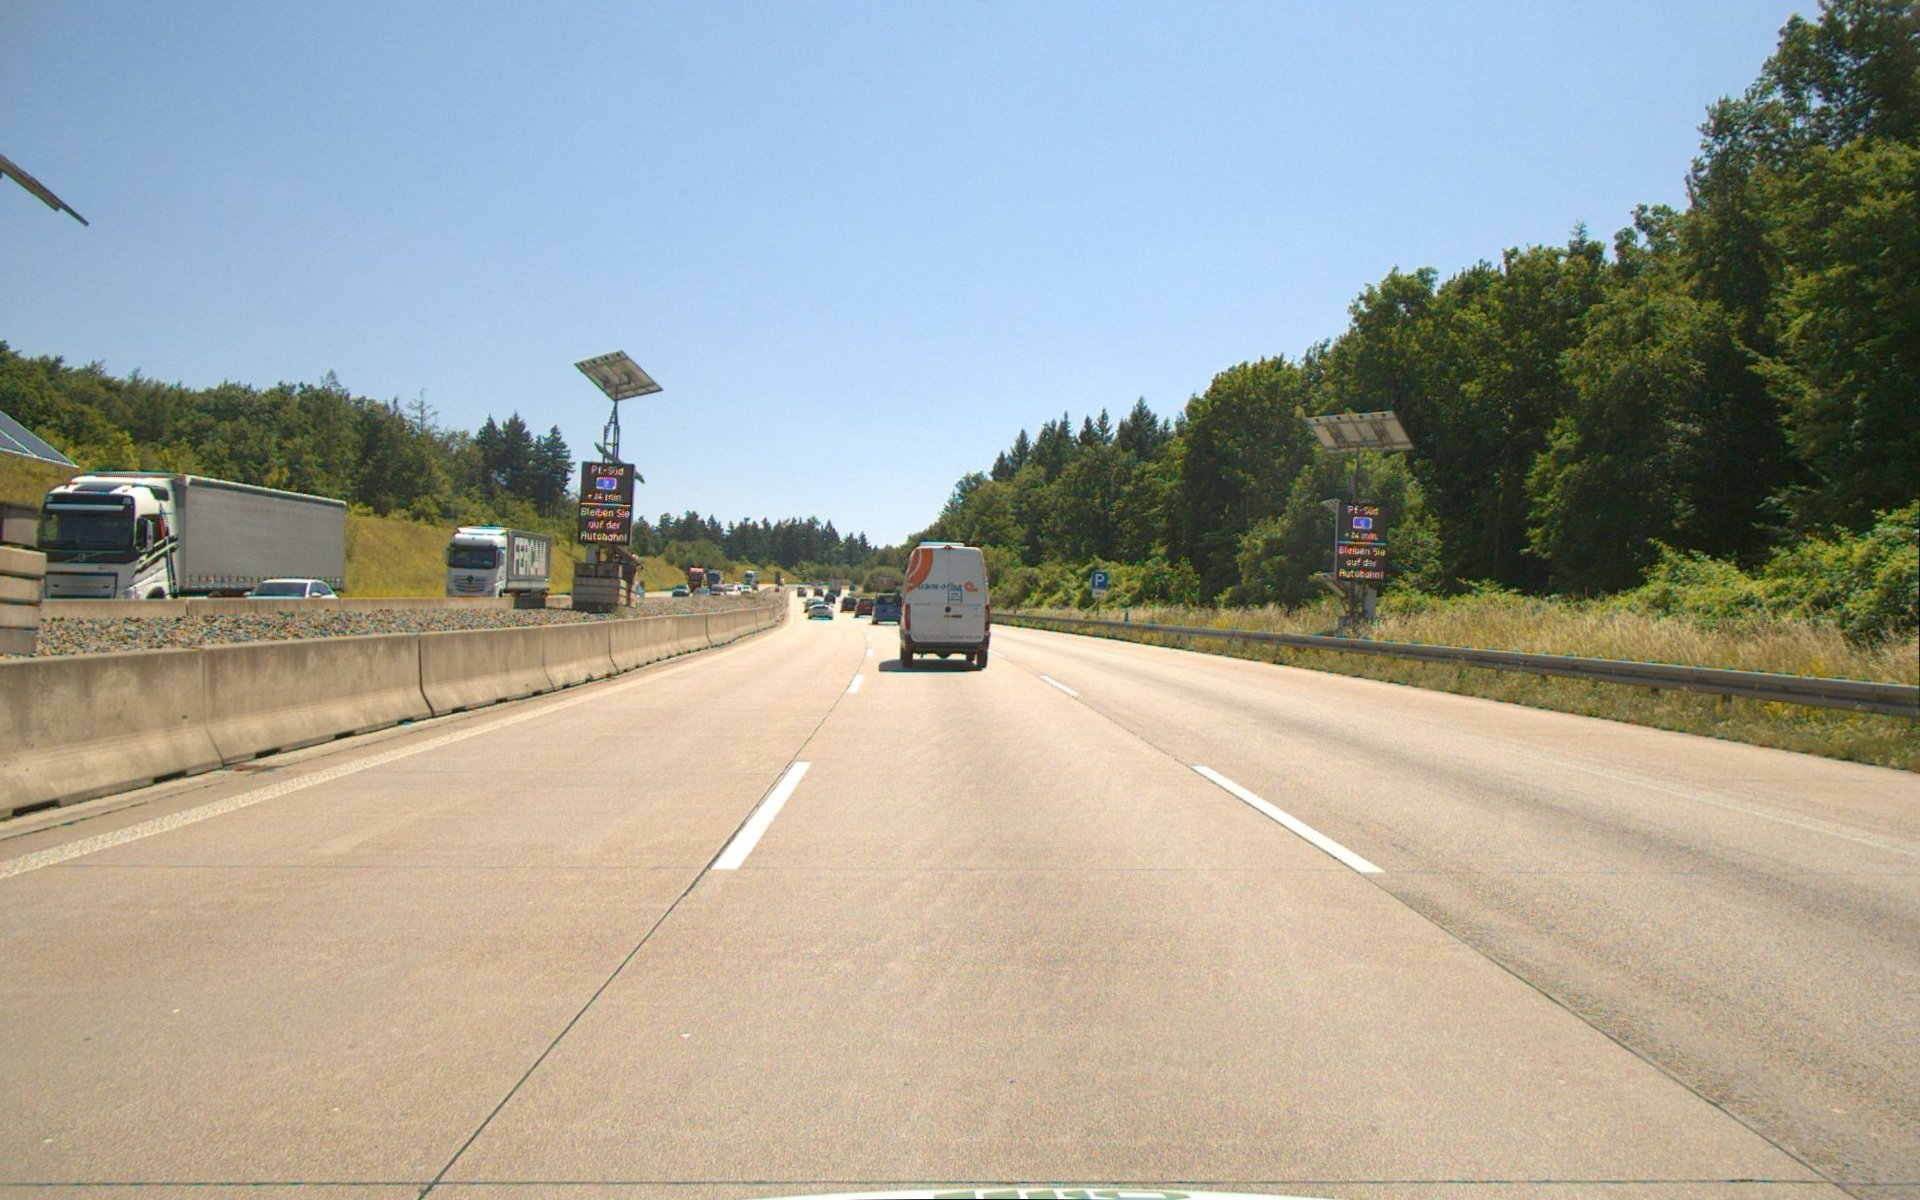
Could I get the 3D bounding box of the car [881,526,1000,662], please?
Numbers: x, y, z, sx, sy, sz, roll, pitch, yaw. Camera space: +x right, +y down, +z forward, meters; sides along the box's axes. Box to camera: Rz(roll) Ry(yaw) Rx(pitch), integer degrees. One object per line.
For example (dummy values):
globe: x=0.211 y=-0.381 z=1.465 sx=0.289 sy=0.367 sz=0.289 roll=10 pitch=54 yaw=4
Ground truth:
car: x=-0.537 y=-0.154 z=38.432 sx=2.184 sy=2.894 sz=5.447 roll=1 pitch=1 yaw=-7

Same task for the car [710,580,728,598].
car: x=-27.716 y=-1.265 z=190.363 sx=1.955 sy=2.049 sz=4.454 roll=1 pitch=0 yaw=-7

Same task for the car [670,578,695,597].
car: x=-30.930 y=-1.361 z=184.323 sx=2.238 sy=2.049 sz=4.800 roll=1 pitch=0 yaw=-3

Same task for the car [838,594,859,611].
car: x=-11.737 y=0.295 z=174.307 sx=1.954 sy=1.713 sz=3.998 roll=3 pitch=0 yaw=-2

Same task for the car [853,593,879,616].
car: x=-7.714 y=0.386 z=136.140 sx=1.954 sy=1.713 sz=3.998 roll=3 pitch=0 yaw=-2

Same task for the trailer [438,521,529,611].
trailer: x=-24.078 y=-1.654 z=83.910 sx=2.876 sy=4.241 sz=6.884 roll=3 pitch=0 yaw=-5

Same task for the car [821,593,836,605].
car: x=-20.164 y=-0.116 z=253.758 sx=1.954 sy=1.713 sz=3.998 roll=3 pitch=0 yaw=-2

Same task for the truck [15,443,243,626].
truck: x=-21.331 y=-1.563 z=42.890 sx=2.876 sy=4.241 sz=6.224 roll=3 pitch=0 yaw=-4

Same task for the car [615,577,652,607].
car: x=-22.580 y=-0.550 z=114.587 sx=1.954 sy=2.049 sz=3.997 roll=1 pitch=0 yaw=-3

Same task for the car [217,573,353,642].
car: x=-17.478 y=0.190 z=43.033 sx=1.953 sy=1.713 sz=3.999 roll=0 pitch=0 yaw=-2

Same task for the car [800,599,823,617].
car: x=-14.432 y=0.775 z=160.635 sx=1.954 sy=1.713 sz=3.998 roll=3 pitch=0 yaw=-2

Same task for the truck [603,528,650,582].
truck: x=-30.470 y=-4.030 z=151.644 sx=2.857 sy=4.592 sz=11.247 roll=1 pitch=0 yaw=-5

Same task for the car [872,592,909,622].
car: x=-4.343 y=0.436 z=102.609 sx=1.956 sy=1.713 sz=3.994 roll=3 pitch=0 yaw=-7

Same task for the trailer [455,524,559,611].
trailer: x=-24.612 y=-1.645 z=90.598 sx=2.876 sy=4.241 sz=13.177 roll=3 pitch=0 yaw=-5

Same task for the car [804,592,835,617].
car: x=-10.250 y=0.305 z=121.115 sx=1.954 sy=1.713 sz=3.998 roll=3 pitch=0 yaw=-2

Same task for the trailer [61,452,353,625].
trailer: x=-21.800 y=-1.544 z=49.299 sx=2.876 sy=4.241 sz=14.375 roll=3 pitch=0 yaw=-4
